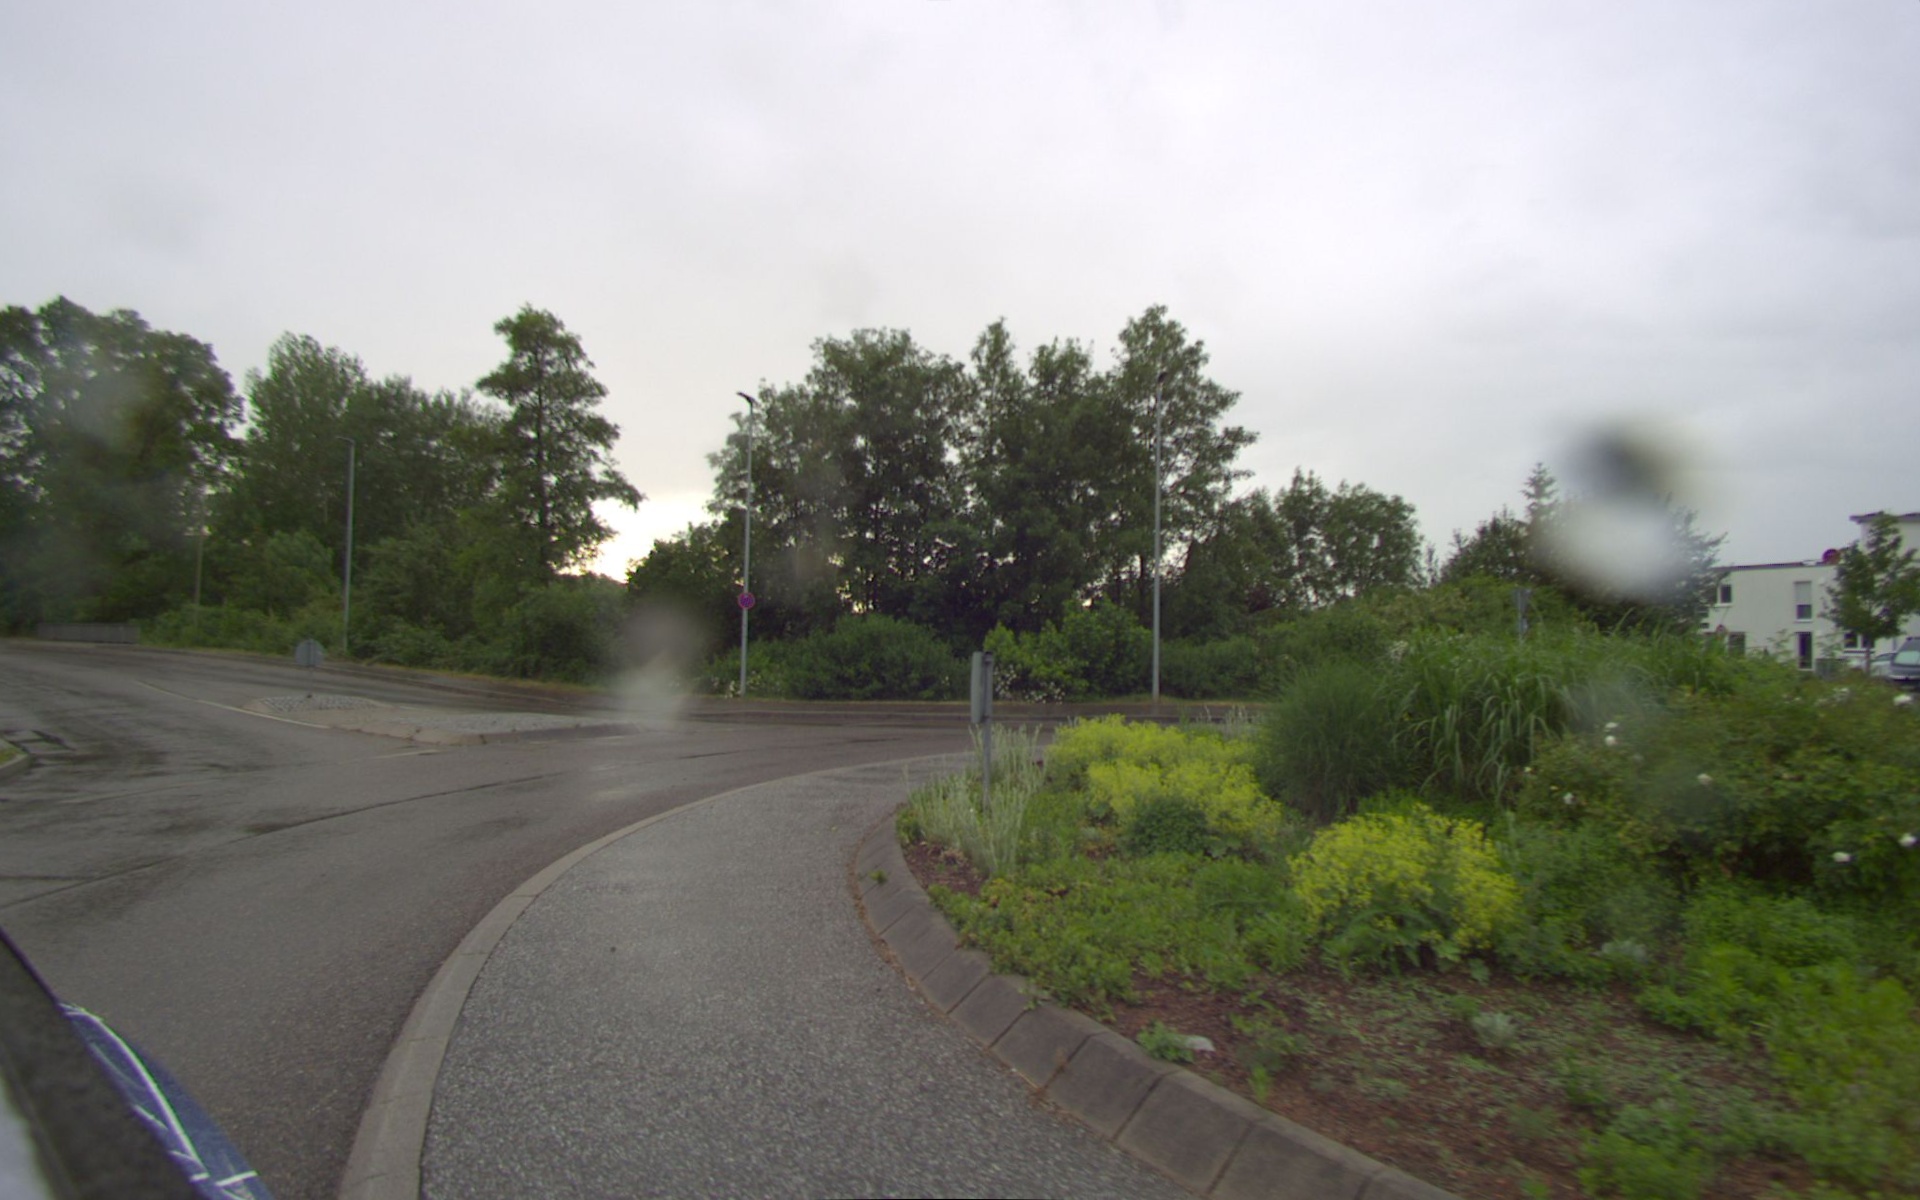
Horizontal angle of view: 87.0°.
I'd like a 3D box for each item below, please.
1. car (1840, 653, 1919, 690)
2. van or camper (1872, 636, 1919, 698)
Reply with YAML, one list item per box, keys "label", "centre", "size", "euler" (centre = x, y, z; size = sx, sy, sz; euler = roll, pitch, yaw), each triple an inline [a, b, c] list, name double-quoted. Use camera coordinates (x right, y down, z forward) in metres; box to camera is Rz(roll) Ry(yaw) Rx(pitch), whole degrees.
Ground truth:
- label: "car"
  centre: [47.238, 3.543, 50.427]
  size: [1.986, 1.761, 4.686]
  euler: [2, -3, -23]
- label: "van or camper"
  centre: [41.792, 2.793, 42.436]
  size: [6.101, 2.512, 2.539]
  euler: [1, -2, -19]
